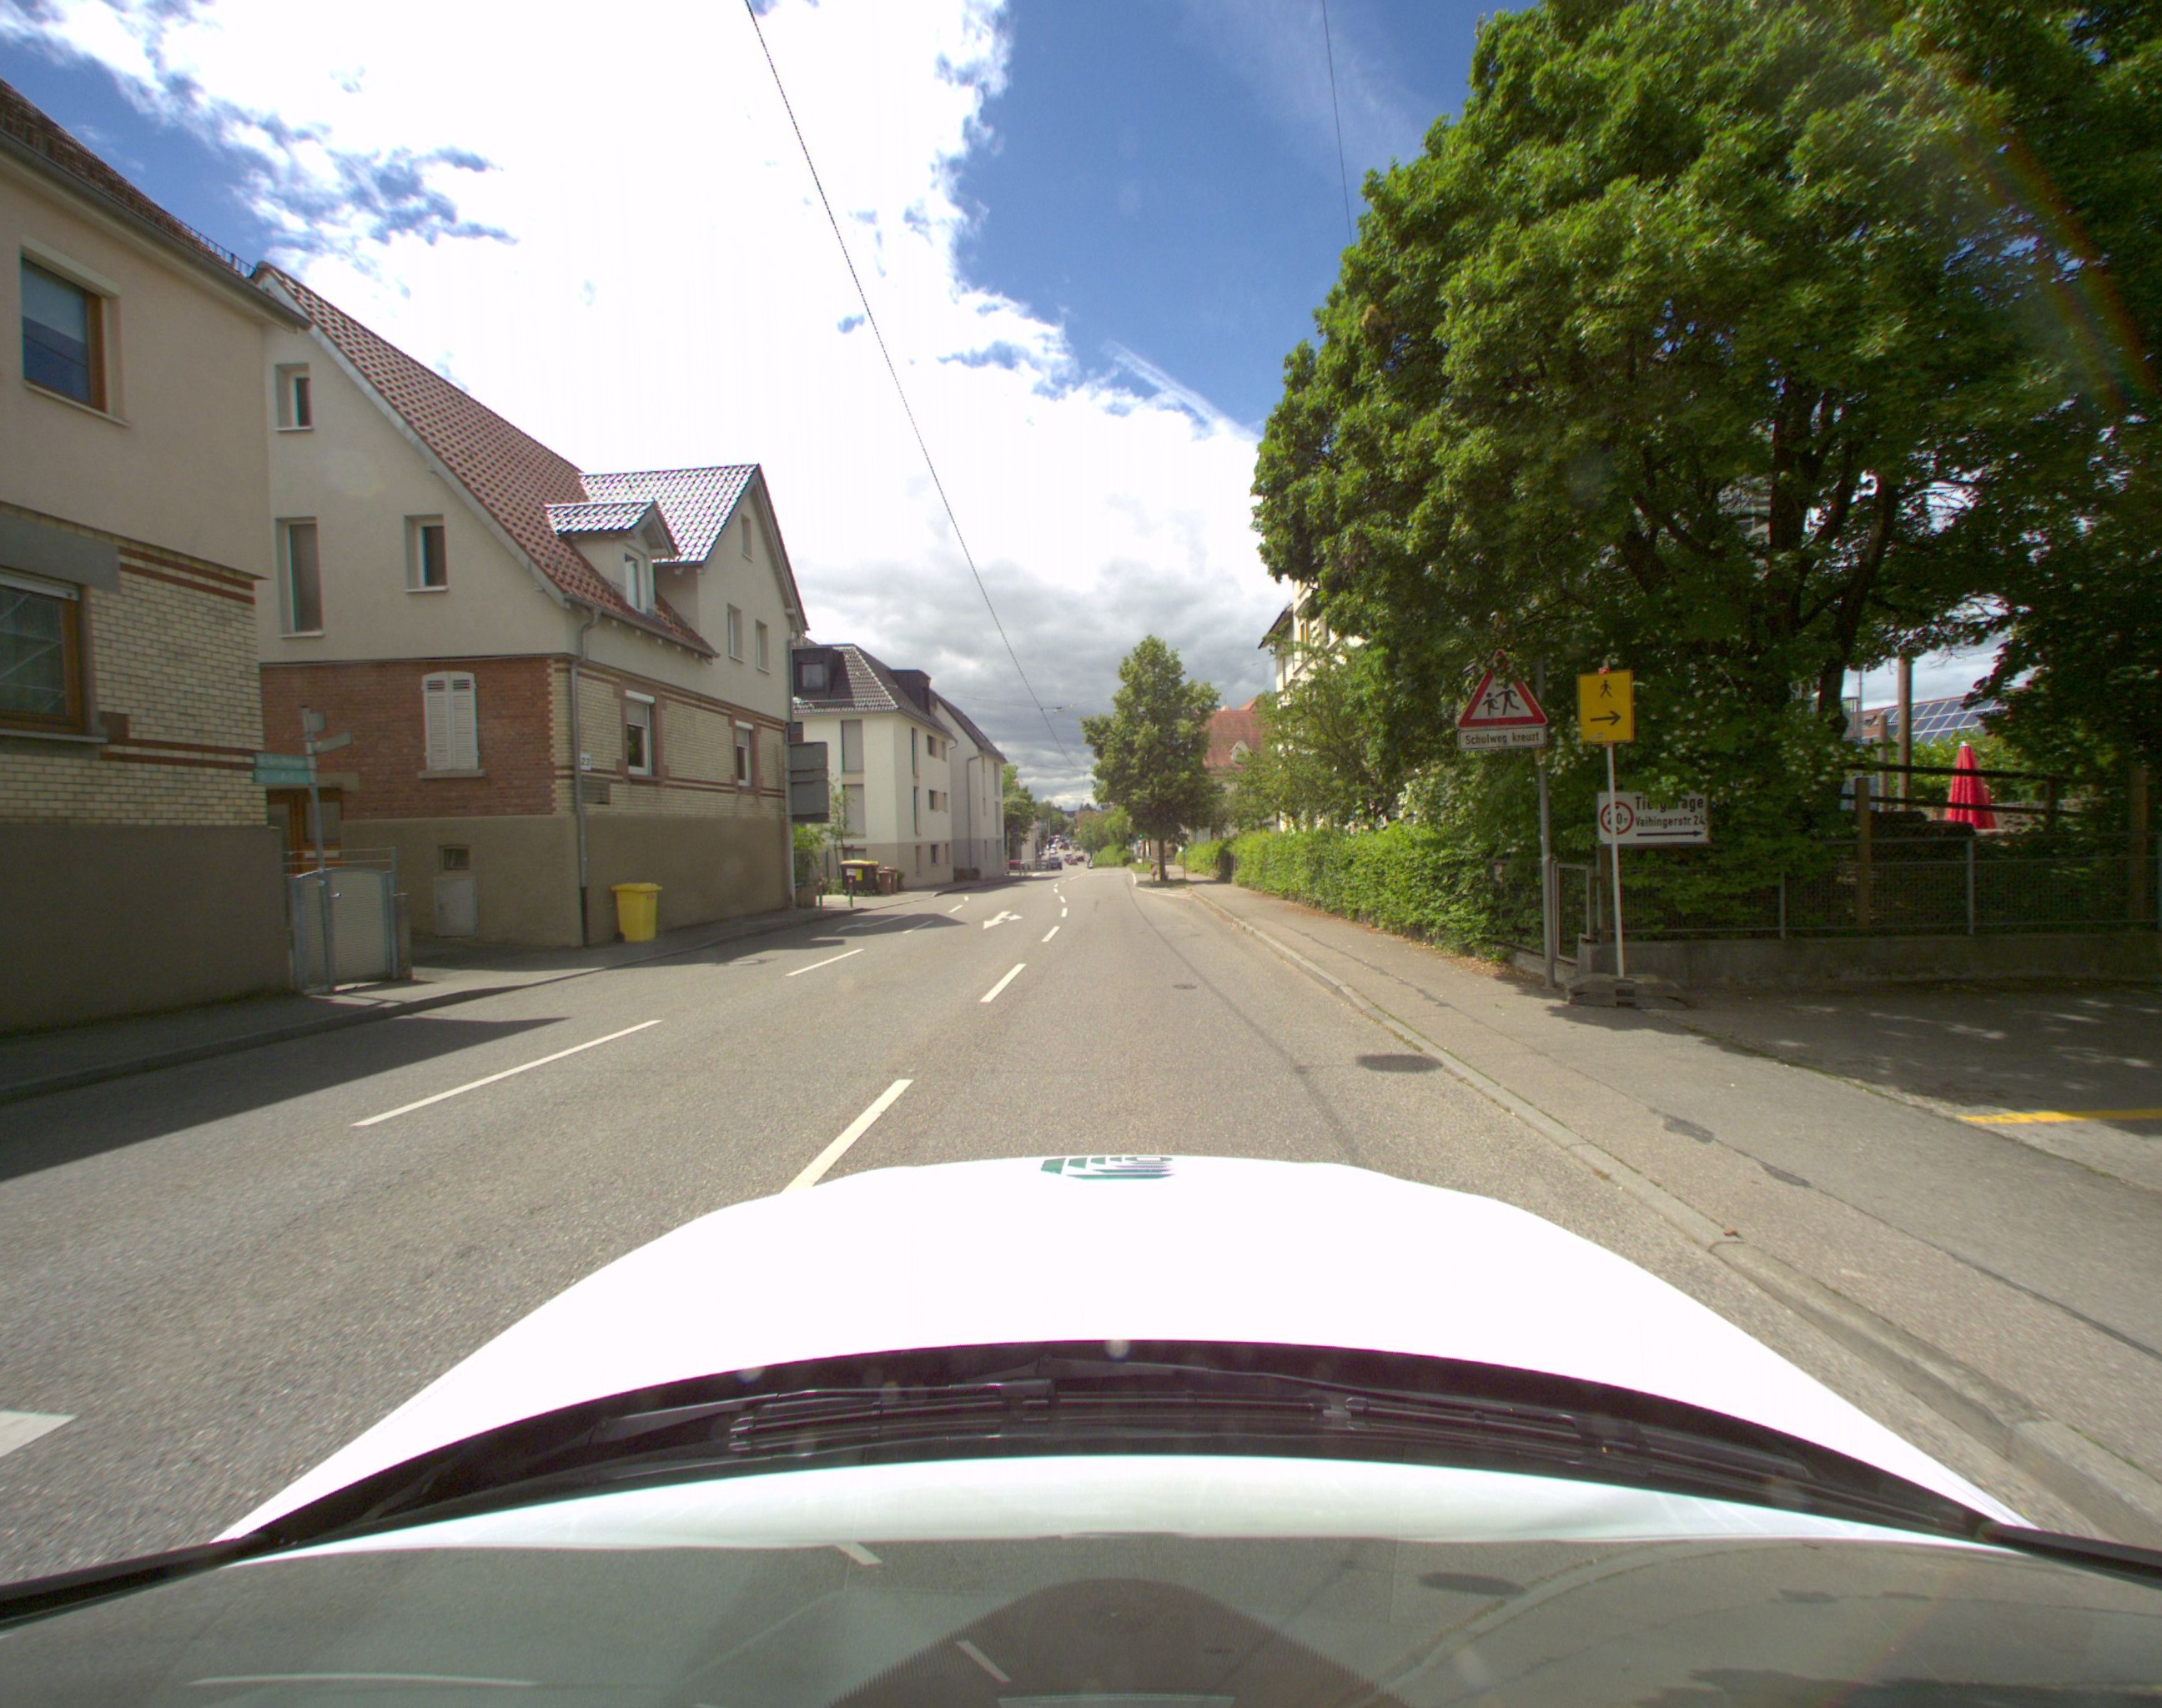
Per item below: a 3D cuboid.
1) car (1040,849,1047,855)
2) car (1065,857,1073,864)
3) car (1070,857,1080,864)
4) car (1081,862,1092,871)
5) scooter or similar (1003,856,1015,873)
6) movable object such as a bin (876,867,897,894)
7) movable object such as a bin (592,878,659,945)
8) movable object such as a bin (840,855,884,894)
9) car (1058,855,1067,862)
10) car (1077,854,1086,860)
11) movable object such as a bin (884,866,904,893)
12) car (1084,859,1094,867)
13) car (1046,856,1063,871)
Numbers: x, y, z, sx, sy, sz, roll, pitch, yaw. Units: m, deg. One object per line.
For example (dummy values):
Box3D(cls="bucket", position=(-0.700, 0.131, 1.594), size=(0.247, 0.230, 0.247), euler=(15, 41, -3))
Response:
Box3D(cls="car", position=(-11.221, -0.653, 242.077), size=(1.867, 1.640, 3.999), euler=(0, 0, 0))
Box3D(cls="car", position=(-2.881, 1.536, 194.063), size=(1.274, 1.527, 3.041), euler=(-2, 3, -10))
Box3D(cls="car", position=(-1.404, 1.530, 185.084), size=(1.744, 1.417, 3.986), euler=(-2, 0, -10))
Box3D(cls="car", position=(1.105, 2.381, 159.640), size=(1.840, 1.768, 4.511), euler=(-1, -1, -2))
Box3D(cls="scooter or similar", position=(-5.577, 0.814, 63.018), size=(0.492, 1.261, 1.296), euler=(-2, -1, -27))
Box3D(cls="movable object such as a bin", position=(-7.708, 1.048, 32.333), size=(0.638, 1.000, 0.657), euler=(-2, 0, 2))
Box3D(cls="movable object such as a bin", position=(-8.435, 1.050, 15.118), size=(0.762, 1.161, 0.803), euler=(-2, 0, 0))
Box3D(cls="movable object such as a bin", position=(-8.485, 0.779, 31.616), size=(1.331, 1.446, 1.170), euler=(-2, 0, -1))
Box3D(cls="car", position=(-4.627, 1.126, 204.060), size=(1.836, 1.862, 3.838), euler=(-1, 0, -10))
Box3D(cls="car", position=(0.070, 0.650, 200.822), size=(1.752, 1.371, 3.988), euler=(-2, 0, -8))
Box3D(cls="movable object such as a bin", position=(-7.585, 1.030, 33.076), size=(0.638, 1.075, 0.660), euler=(-2, 0, 0))
Box3D(cls="car", position=(1.469, 1.690, 153.884), size=(1.782, 1.509, 4.360), euler=(-1, -1, -2))
Box3D(cls="car", position=(-3.168, 1.124, 97.552), size=(1.790, 1.610, 4.644), euler=(-2, 0, 0))
